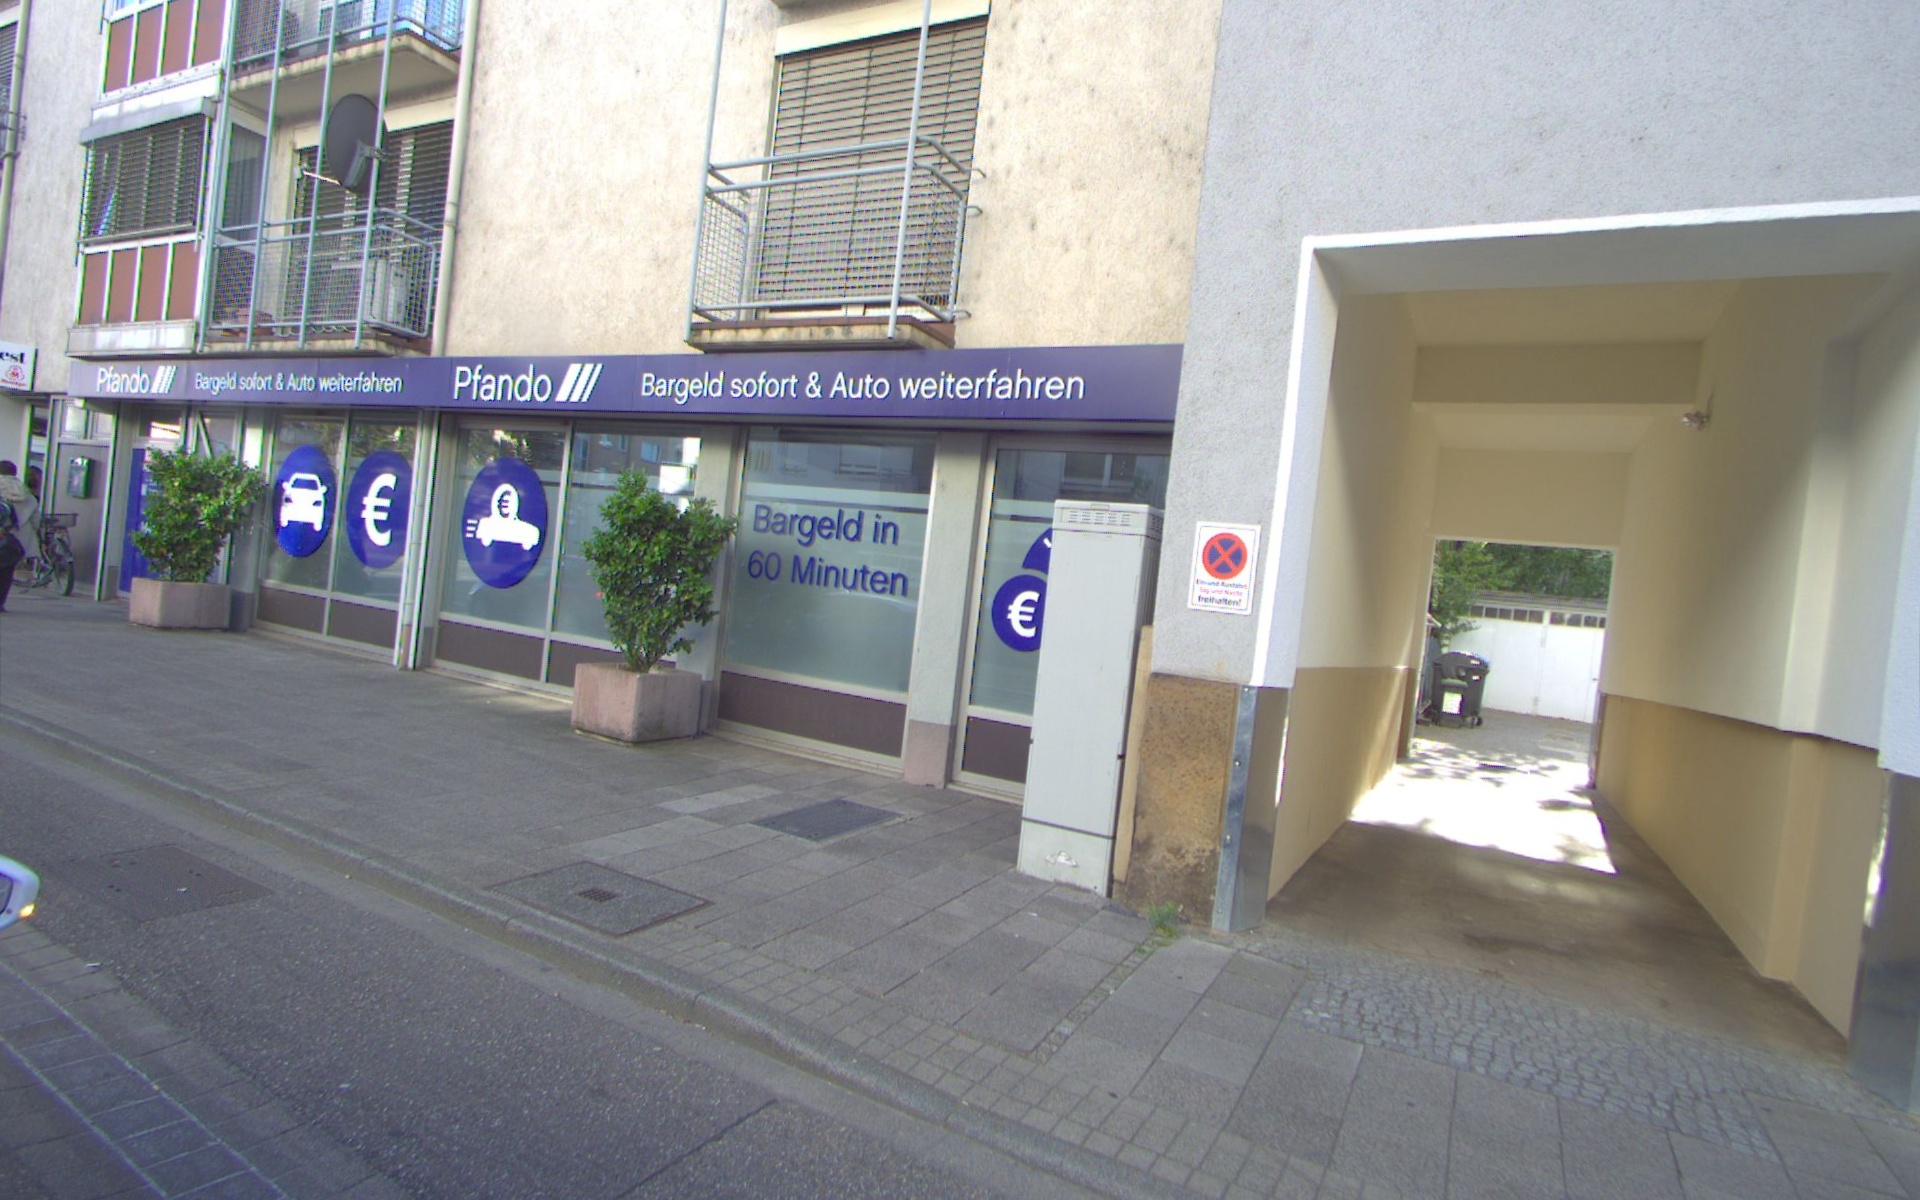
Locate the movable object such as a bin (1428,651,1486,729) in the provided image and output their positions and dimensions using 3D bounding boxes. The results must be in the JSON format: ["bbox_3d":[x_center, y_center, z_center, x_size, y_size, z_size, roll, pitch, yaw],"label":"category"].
[{"bbox_3d":[9.944,1.775,20.114,0.873,1.411,0.758,7,2,28],"label":"movable object such as a bin"}]

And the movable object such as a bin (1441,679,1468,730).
[{"bbox_3d":[9.559,2.013,19.439,0.365,0.920,0.420,7,2,28],"label":"movable object such as a bin"}]

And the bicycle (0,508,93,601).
[{"bbox_3d":[-11.656,-0.591,12.672,1.678,1.010,0.543,6,-1,32],"label":"bicycle"}]

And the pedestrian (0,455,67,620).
[{"bbox_3d":[-9.902,-0.665,10.289,0.738,1.611,0.827,6,-1,31],"label":"pedestrian"}]
